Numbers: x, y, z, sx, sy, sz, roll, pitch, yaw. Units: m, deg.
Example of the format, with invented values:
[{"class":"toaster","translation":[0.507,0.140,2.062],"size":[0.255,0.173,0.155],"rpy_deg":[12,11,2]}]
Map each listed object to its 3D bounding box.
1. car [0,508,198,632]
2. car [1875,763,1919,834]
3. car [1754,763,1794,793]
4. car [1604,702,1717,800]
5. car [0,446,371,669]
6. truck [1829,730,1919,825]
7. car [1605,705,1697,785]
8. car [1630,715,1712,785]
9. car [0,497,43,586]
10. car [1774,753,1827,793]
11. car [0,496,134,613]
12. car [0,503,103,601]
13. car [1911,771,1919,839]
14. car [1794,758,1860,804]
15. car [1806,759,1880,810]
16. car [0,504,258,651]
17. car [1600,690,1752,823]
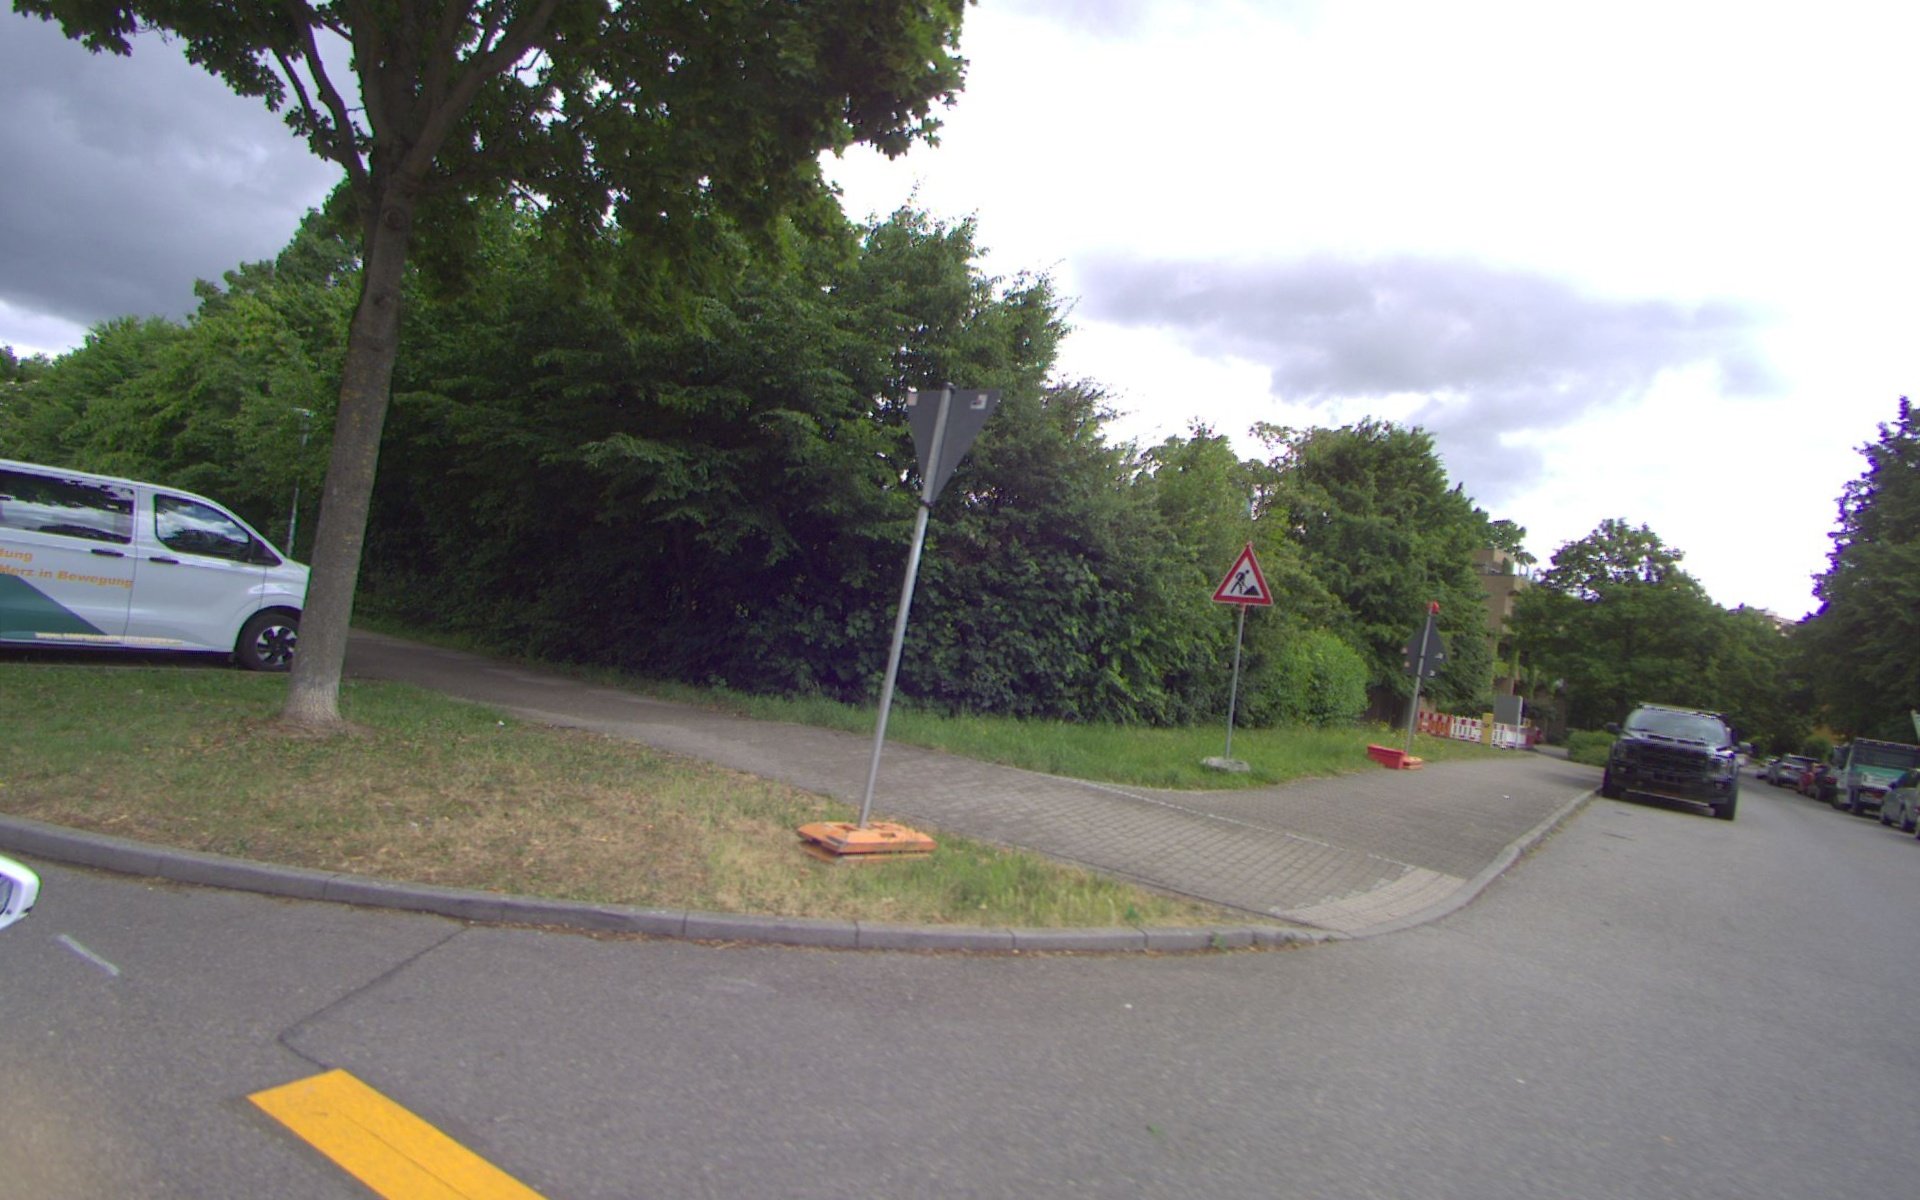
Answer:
[{"class":"car","translation":[-13.335,-0.548,13.320],"size":[2.025,1.451,4.726],"rpy_deg":[7,-1,35]},{"class":"car","translation":[24.383,5.036,25.108],"size":[1.677,1.543,4.287],"rpy_deg":[6,-3,36]},{"class":"car","translation":[53.276,11.632,65.899],"size":[1.677,1.543,4.287],"rpy_deg":[6,-3,36]},{"class":"car","translation":[18.772,3.999,26.992],"size":[2.104,2.080,5.325],"rpy_deg":[6,-3,36]},{"class":"car","translation":[-9.236,-0.440,10.469],"size":[1.815,1.996,4.981],"rpy_deg":[7,-1,30]},{"class":"truck","translation":[28.282,5.352,30.520],"size":[2.159,2.453,5.512],"rpy_deg":[6,-3,36]},{"class":"car","translation":[22.475,4.676,32.724],"size":[2.104,2.080,5.325],"rpy_deg":[6,-3,36]},{"class":"car","translation":[26.053,5.470,36.914],"size":[2.104,2.080,5.325],"rpy_deg":[6,-3,36]},{"class":"car","translation":[-19.553,-1.327,17.901],"size":[1.886,1.596,4.382],"rpy_deg":[7,-1,34]},{"class":"car","translation":[43.881,9.009,52.587],"size":[1.677,1.648,4.287],"rpy_deg":[6,-3,36]},{"class":"car","translation":[-15.368,-0.858,15.168],"size":[1.862,1.628,4.068],"rpy_deg":[7,-1,34]},{"class":"car","translation":[-17.494,-1.027,16.506],"size":[2.076,1.517,4.732],"rpy_deg":[7,-1,31]},{"class":"car","translation":[20.656,4.349,20.124],"size":[1.677,1.444,4.433],"rpy_deg":[6,-3,36]},{"class":"car","translation":[37.694,7.822,43.812],"size":[1.677,1.543,4.287],"rpy_deg":[6,-3,36]},{"class":"car","translation":[34.856,7.236,39.803],"size":[1.677,1.543,4.287],"rpy_deg":[6,-3,36]},{"class":"car","translation":[-11.374,-0.368,11.819],"size":[1.817,1.534,4.707],"rpy_deg":[7,-1,34]},{"class":"car","translation":[14.690,3.153,20.745],"size":[2.104,2.080,5.325],"rpy_deg":[6,-3,36]}]
